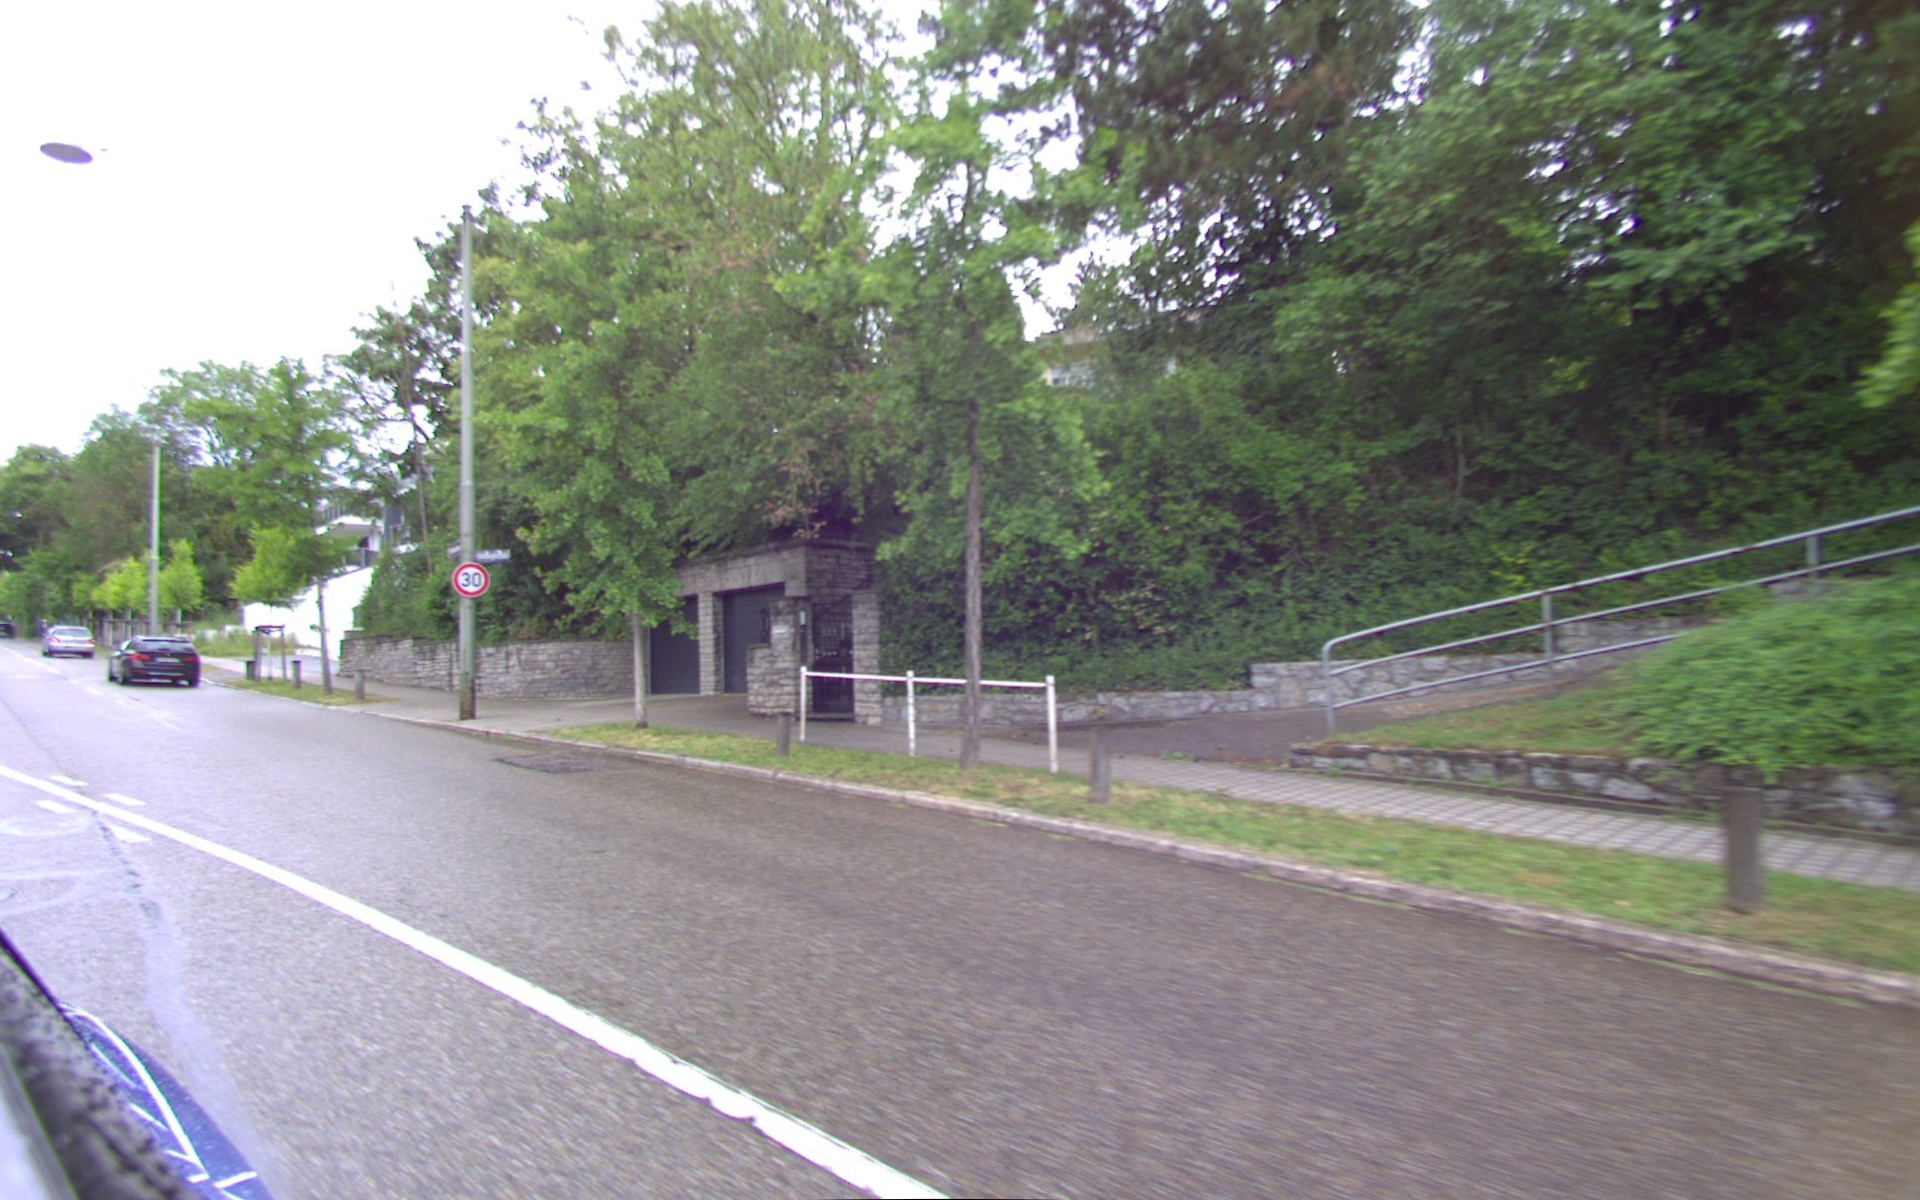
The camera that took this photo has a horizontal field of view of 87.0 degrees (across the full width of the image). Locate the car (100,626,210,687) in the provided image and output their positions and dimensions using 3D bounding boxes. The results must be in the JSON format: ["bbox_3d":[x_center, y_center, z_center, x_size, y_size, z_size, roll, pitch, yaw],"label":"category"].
[{"bbox_3d":[-23.458,1.609,29.428,4.589,1.597,1.889,-1,-5,45],"label":"car"}]

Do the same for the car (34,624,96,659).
[{"bbox_3d":[-41.040,1.899,46.380,3.802,1.497,1.745,-2,-6,44],"label":"car"}]

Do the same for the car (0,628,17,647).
[{"bbox_3d":[-83.697,3.237,88.275,3.918,1.561,1.726,-1,-5,43],"label":"car"}]
